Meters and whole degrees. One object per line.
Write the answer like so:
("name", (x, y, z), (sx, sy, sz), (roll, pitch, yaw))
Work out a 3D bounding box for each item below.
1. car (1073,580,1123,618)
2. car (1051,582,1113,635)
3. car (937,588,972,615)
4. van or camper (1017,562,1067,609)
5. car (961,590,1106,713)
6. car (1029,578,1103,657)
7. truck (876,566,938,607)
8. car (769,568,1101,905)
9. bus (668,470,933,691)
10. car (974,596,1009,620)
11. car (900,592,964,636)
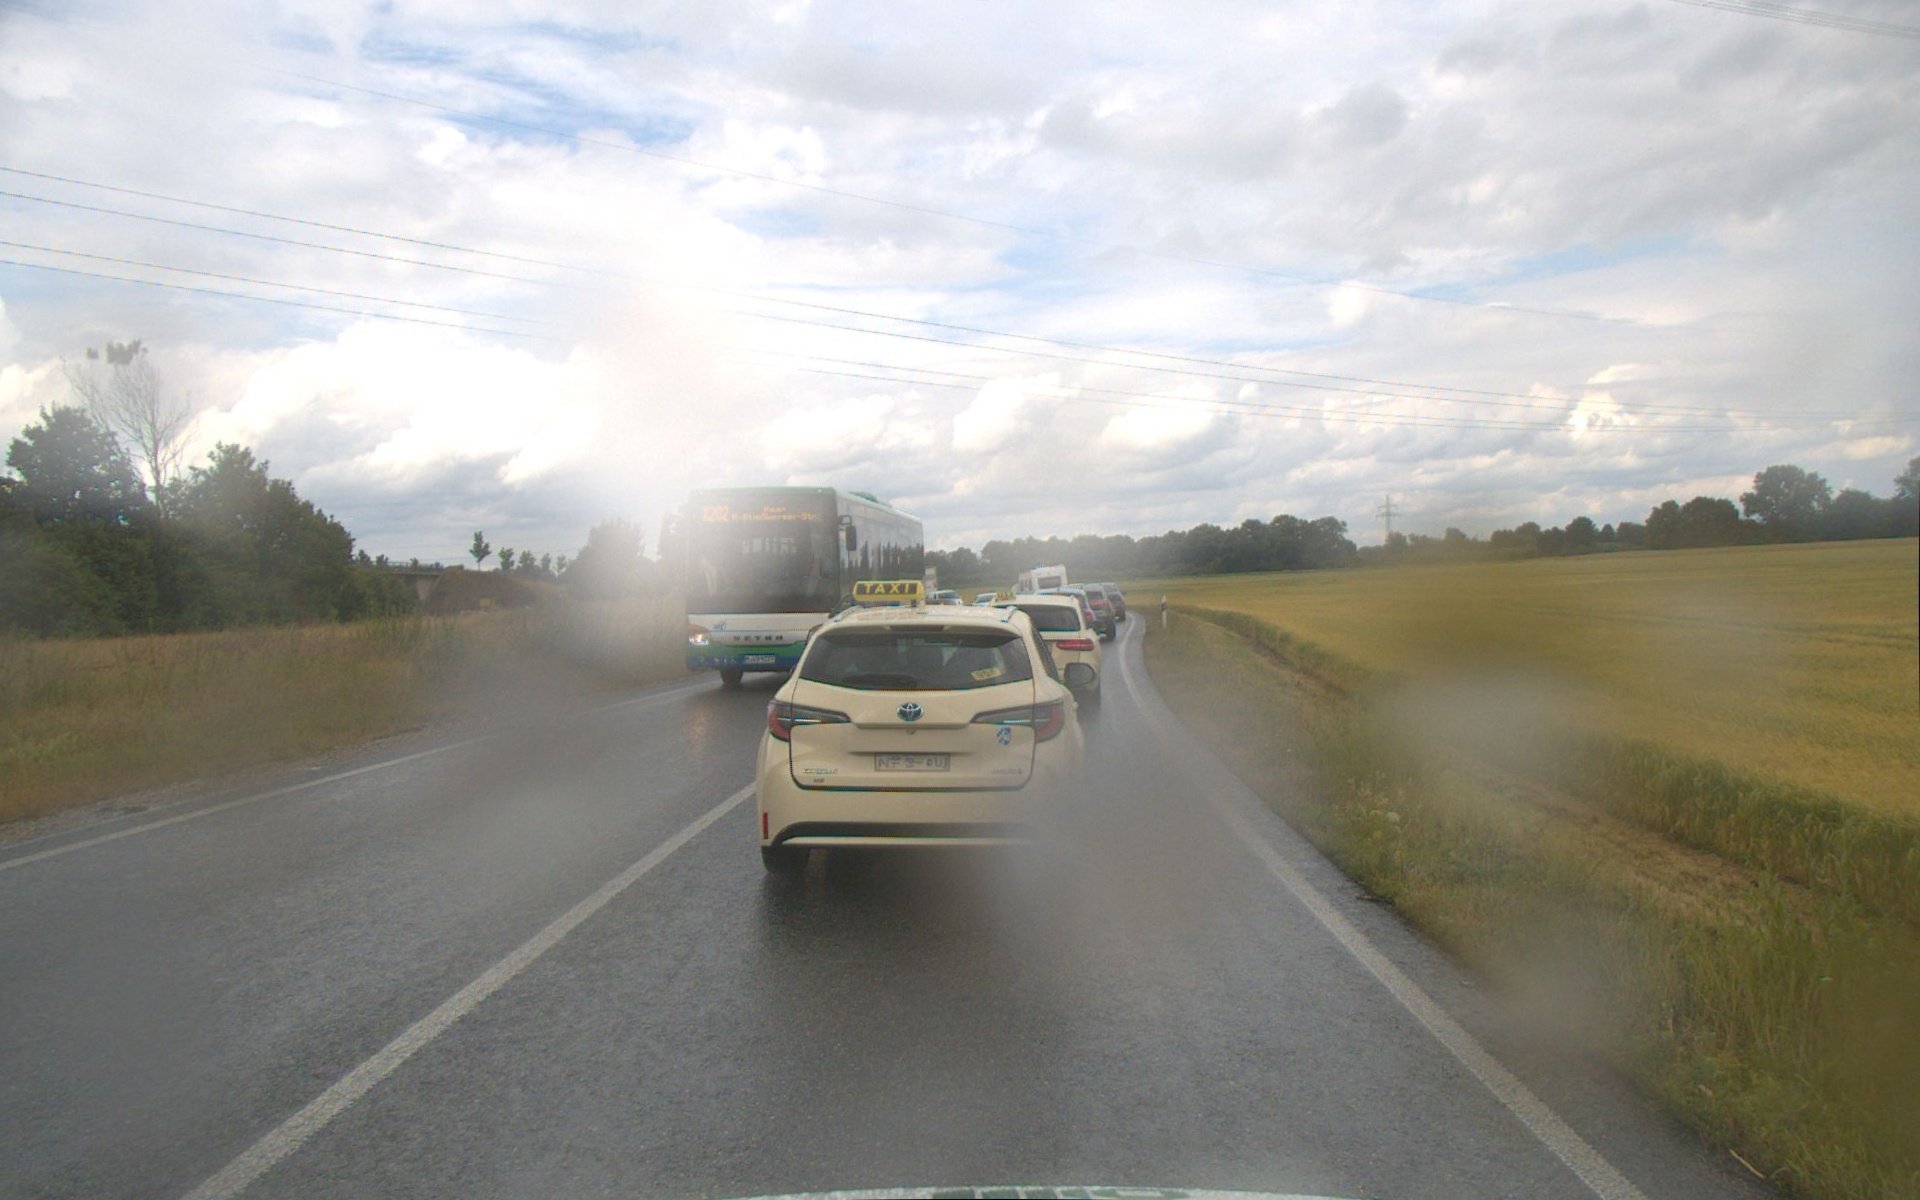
("car", (5.553, -0.011, 66.511), (1.918, 1.438, 4.394), (0, -1, 5))
("car", (3.483, 0.262, 46.712), (1.578, 1.438, 3.741), (0, -1, 7))
("car", (-0.388, 0.107, 115.800), (1.810, 1.888, 4.438), (0, 0, -9))
("van or camper", (5.273, -0.944, 107.503), (2.487, 2.946, 6.737), (0, 0, -4))
("car", (1.096, 0.630, 22.908), (1.802, 1.518, 4.611), (0, 0, 5))
("car", (2.381, 0.400, 37.117), (1.579, 1.688, 3.740), (0, -1, 4))
("truck", (-4.549, -1.090, 139.930), (2.969, 3.266, 8.185), (1, -1, -20))
("car", (-0.019, 0.675, 9.754), (1.579, 1.590, 3.739), (0, -1, 3))
("bus", (-2.543, -0.320, 31.422), (2.700, 3.355, 12.510), (0, 0, 5))
("car", (1.903, 0.502, 100.392), (1.807, 1.412, 4.284), (0, 0, -3))
("car", (-0.801, 0.437, 49.993), (1.683, 1.273, 4.001), (0, -1, 3))
